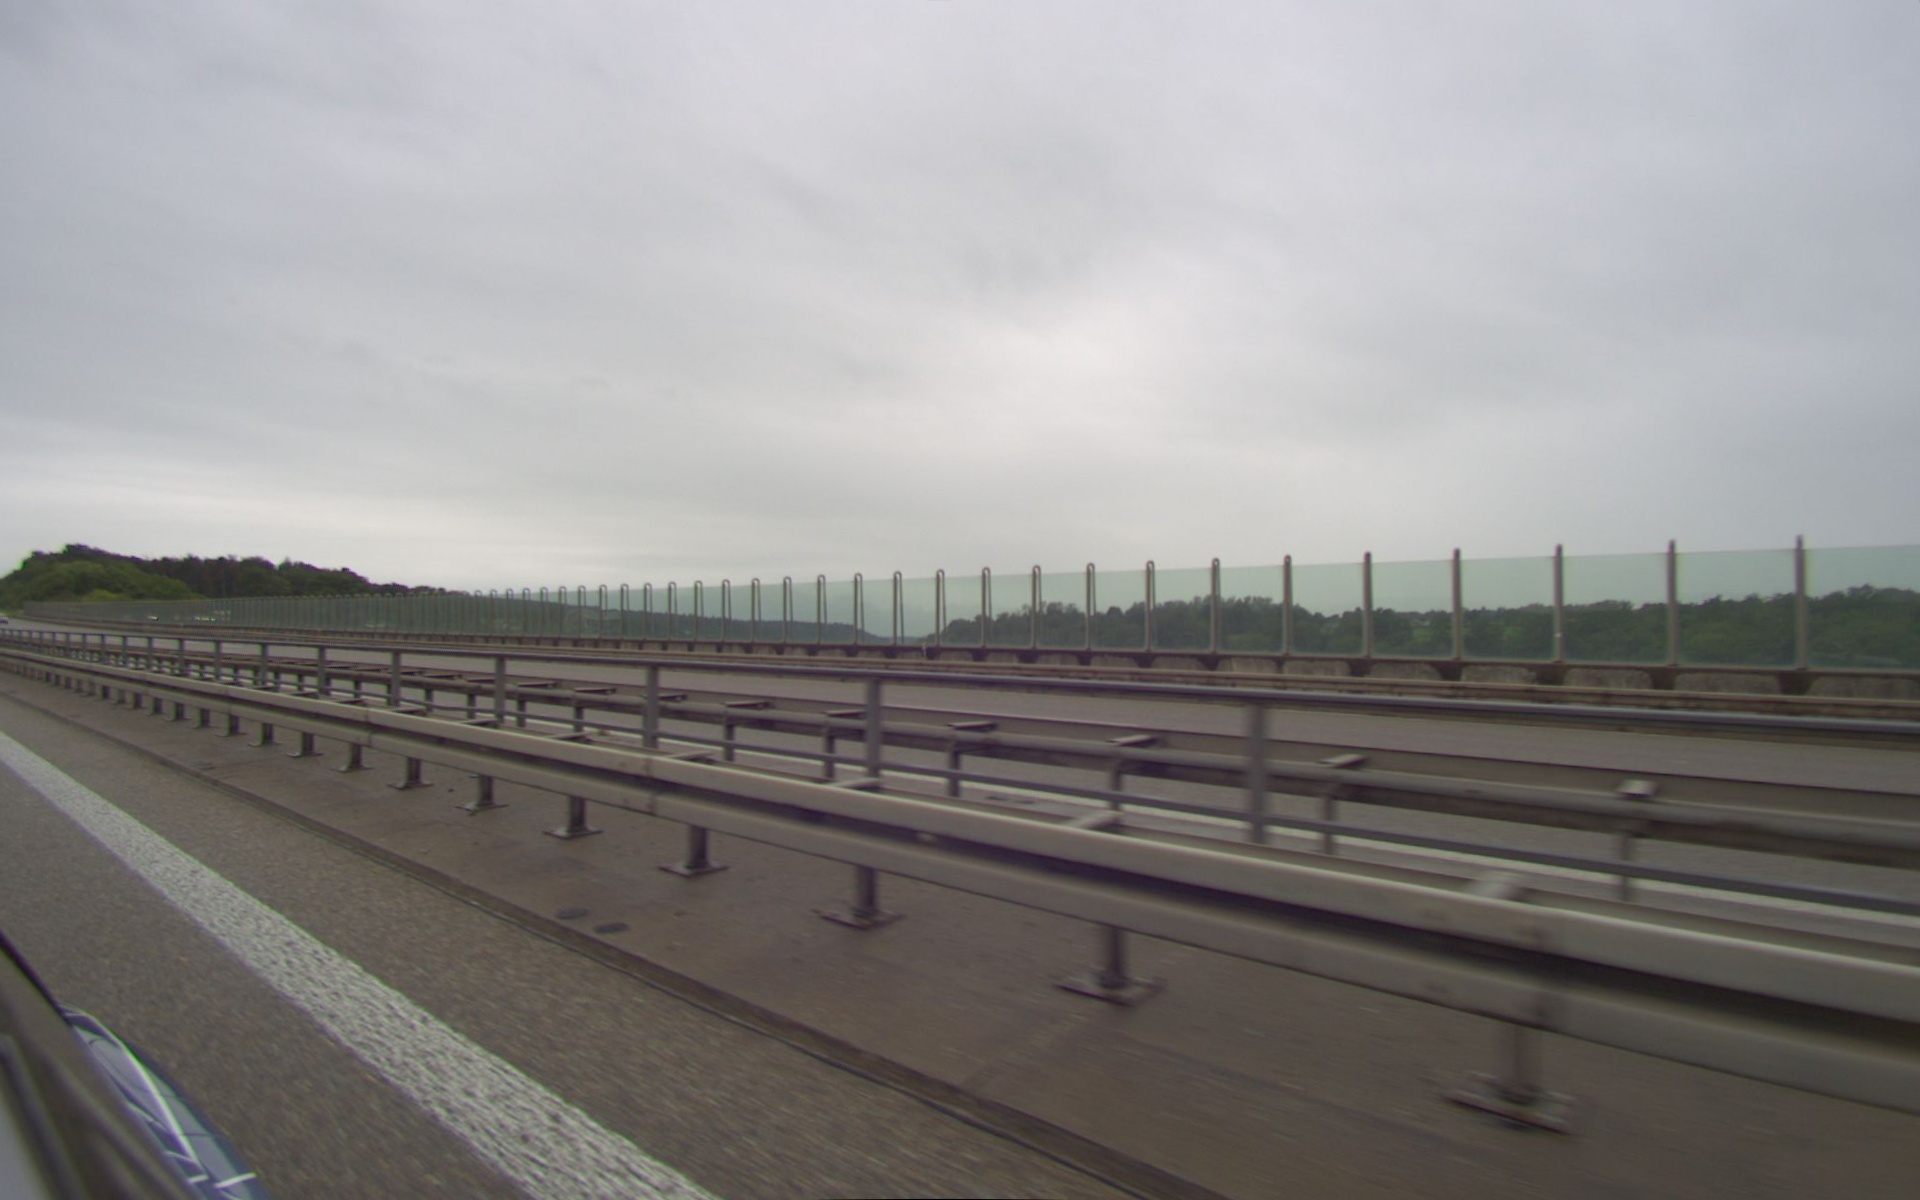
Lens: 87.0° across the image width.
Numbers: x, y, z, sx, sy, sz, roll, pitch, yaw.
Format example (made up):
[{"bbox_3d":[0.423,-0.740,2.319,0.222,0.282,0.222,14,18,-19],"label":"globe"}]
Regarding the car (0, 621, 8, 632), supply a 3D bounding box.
[{"bbox_3d":[-156.323,4.305,164.387,4.712,1.642,1.972,-1,-2,42],"label":"car"}]
